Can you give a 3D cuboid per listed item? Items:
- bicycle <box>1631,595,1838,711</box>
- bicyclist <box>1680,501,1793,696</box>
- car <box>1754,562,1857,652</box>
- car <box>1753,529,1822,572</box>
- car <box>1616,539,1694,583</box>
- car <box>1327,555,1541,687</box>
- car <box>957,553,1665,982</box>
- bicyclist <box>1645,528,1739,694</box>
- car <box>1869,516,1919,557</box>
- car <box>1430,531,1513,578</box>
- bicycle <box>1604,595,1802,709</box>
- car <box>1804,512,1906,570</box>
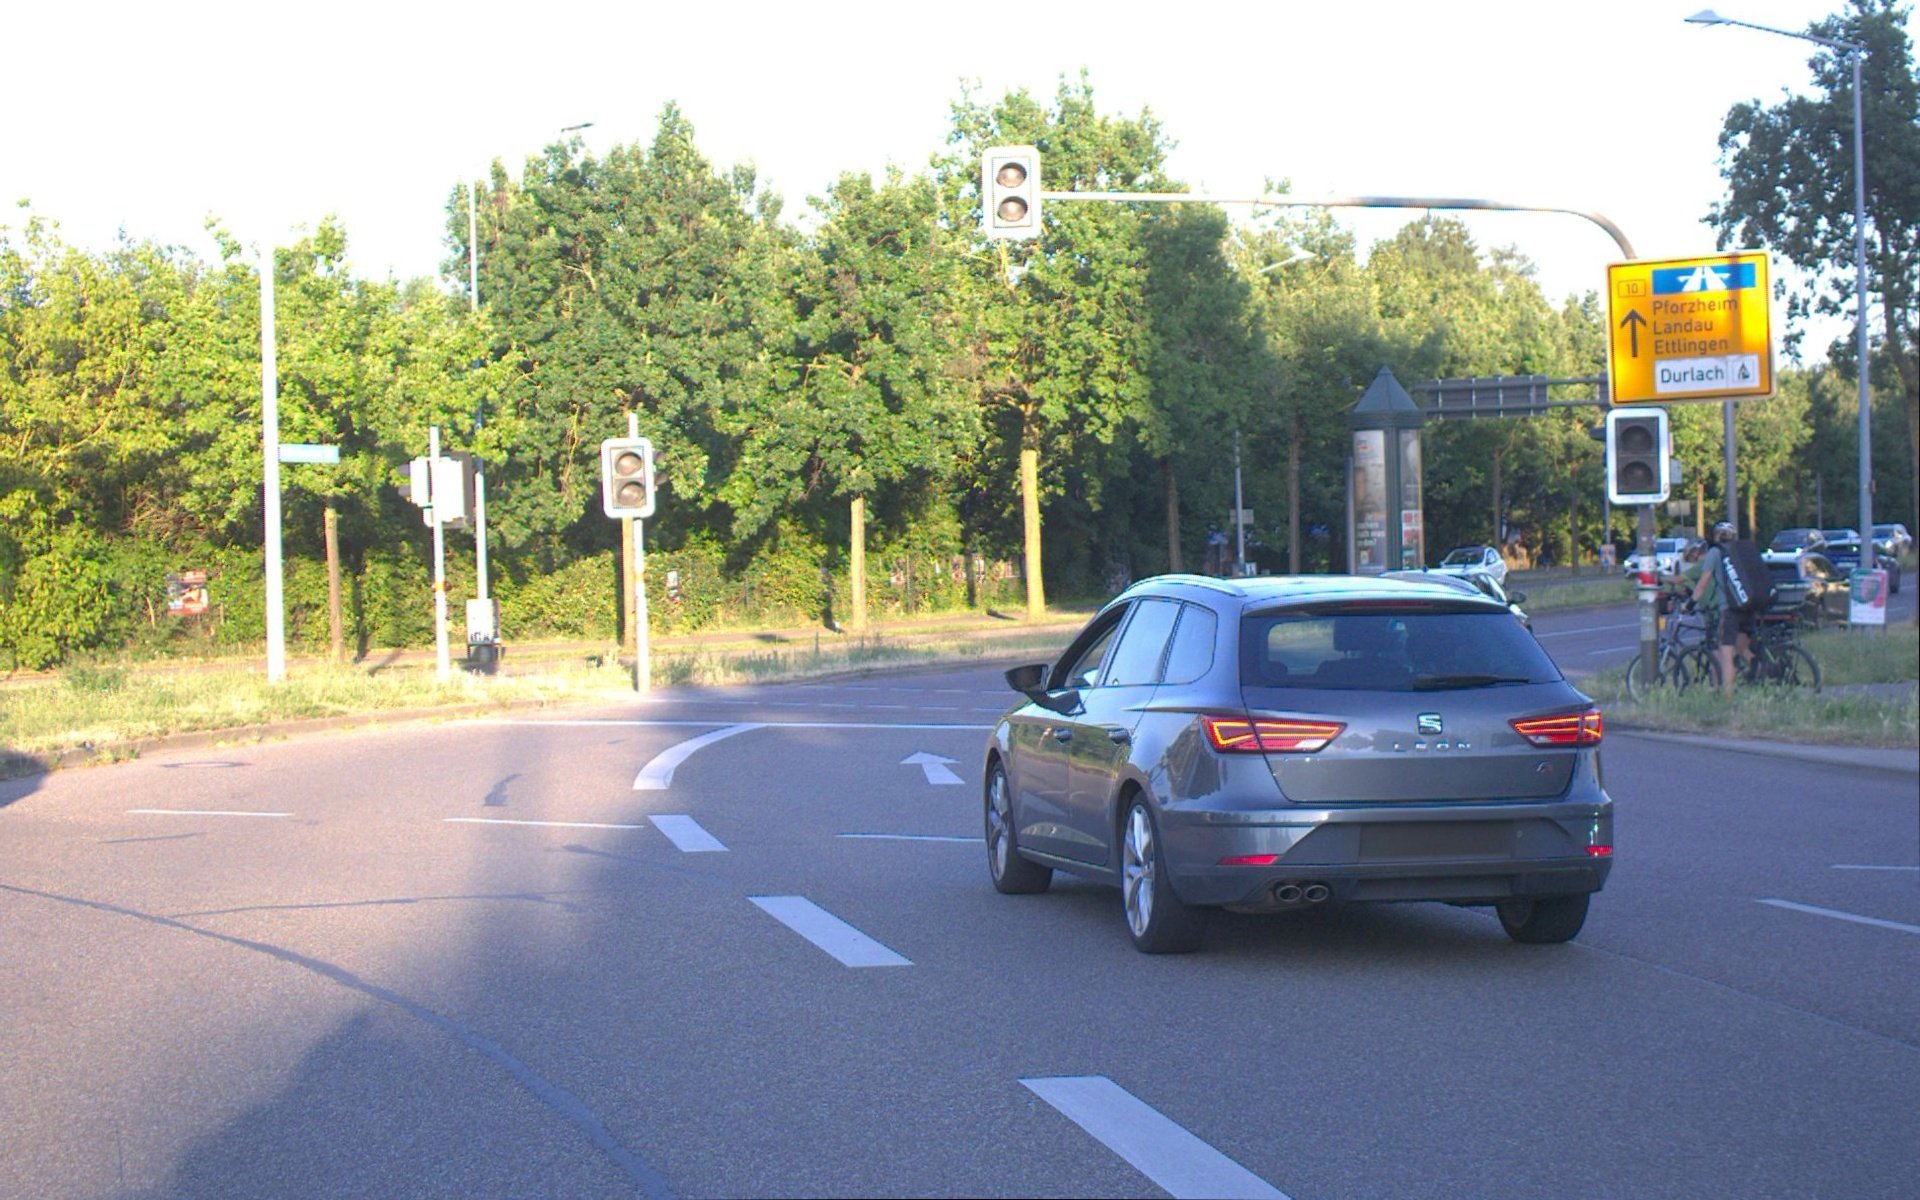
[{"bbox_3d":[7.710,0.531,34.249,1.924,1.081,0.456,-3,0,23],"label":"bicycle"},{"bbox_3d":[7.735,-0.017,34.242,0.908,1.891,0.640,-3,0,23],"label":"bicyclist"},{"bbox_3d":[15.450,0.108,62.792,1.747,1.483,4.132,-1,2,14],"label":"car"},{"bbox_3d":[33.470,-2.004,139.006,1.800,1.627,4.450,-2,0,25],"label":"car"},{"bbox_3d":[24.144,-1.366,119.309,1.724,1.444,4.544,0,1,24],"label":"car"},{"bbox_3d":[6.091,0.233,43.785,1.814,1.520,4.131,-1,1,21],"label":"car"},{"bbox_3d":[1.247,0.552,14.080,1.745,1.419,4.136,-1,1,-11],"label":"car"},{"bbox_3d":[7.728,0.112,36.303,0.768,1.696,0.640,-3,0,23],"label":"bicyclist"},{"bbox_3d":[42.047,-2.812,153.766,1.919,1.748,4.915,-2,0,23],"label":"car"},{"bbox_3d":[16.590,-1.485,111.389,1.551,1.438,3.481,-2,0,28],"label":"car"},{"bbox_3d":[7.803,0.549,36.133,1.924,1.081,0.456,-3,0,23],"label":"bicycle"},{"bbox_3d":[23.738,-1.564,91.062,1.996,1.466,3.995,0,1,24],"label":"car"}]
